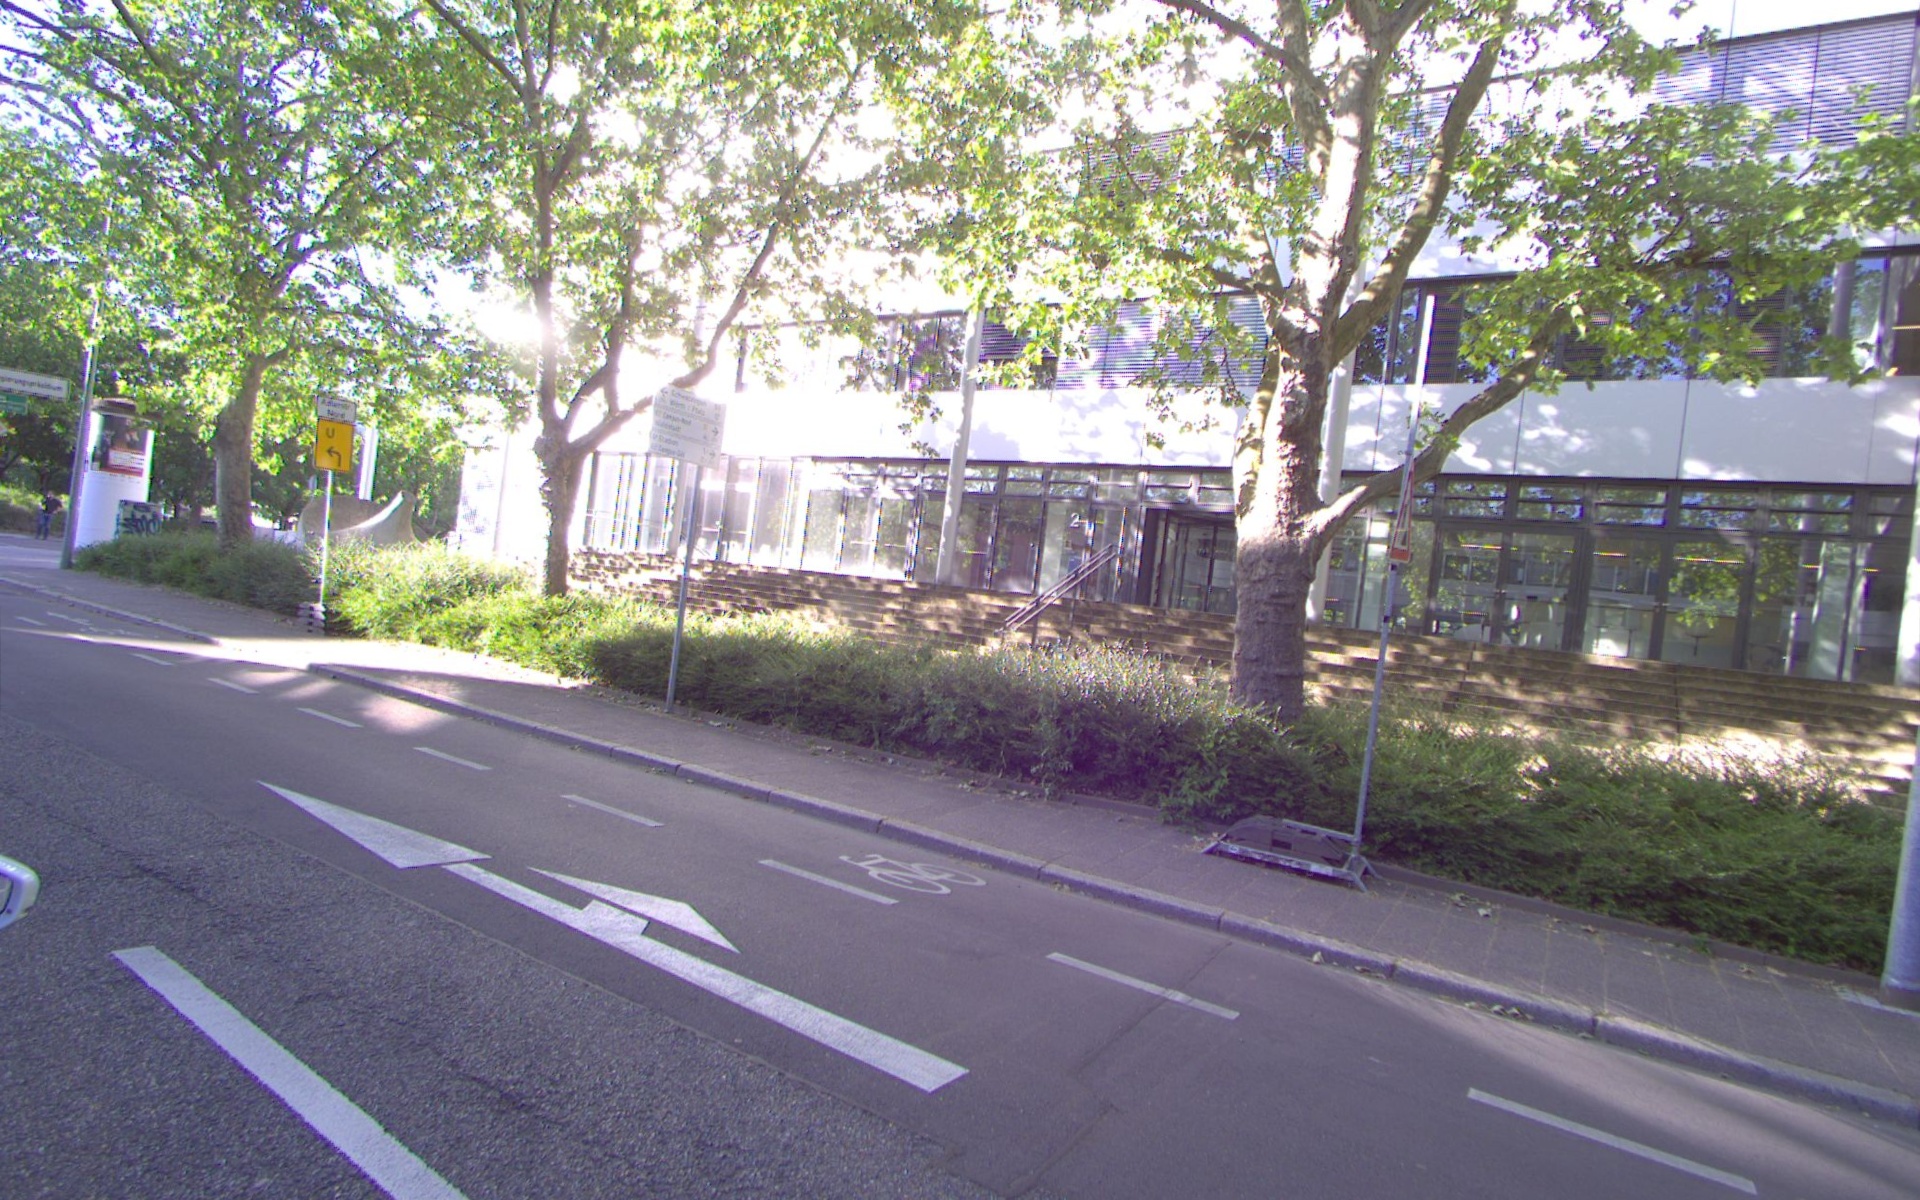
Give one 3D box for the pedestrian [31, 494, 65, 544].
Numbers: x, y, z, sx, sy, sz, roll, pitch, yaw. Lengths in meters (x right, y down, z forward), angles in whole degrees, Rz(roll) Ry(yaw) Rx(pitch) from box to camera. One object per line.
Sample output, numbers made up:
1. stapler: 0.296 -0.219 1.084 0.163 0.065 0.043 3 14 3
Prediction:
1. pedestrian: -34.780 -3.077 38.369 0.732 1.799 0.722 8 -1 -37
